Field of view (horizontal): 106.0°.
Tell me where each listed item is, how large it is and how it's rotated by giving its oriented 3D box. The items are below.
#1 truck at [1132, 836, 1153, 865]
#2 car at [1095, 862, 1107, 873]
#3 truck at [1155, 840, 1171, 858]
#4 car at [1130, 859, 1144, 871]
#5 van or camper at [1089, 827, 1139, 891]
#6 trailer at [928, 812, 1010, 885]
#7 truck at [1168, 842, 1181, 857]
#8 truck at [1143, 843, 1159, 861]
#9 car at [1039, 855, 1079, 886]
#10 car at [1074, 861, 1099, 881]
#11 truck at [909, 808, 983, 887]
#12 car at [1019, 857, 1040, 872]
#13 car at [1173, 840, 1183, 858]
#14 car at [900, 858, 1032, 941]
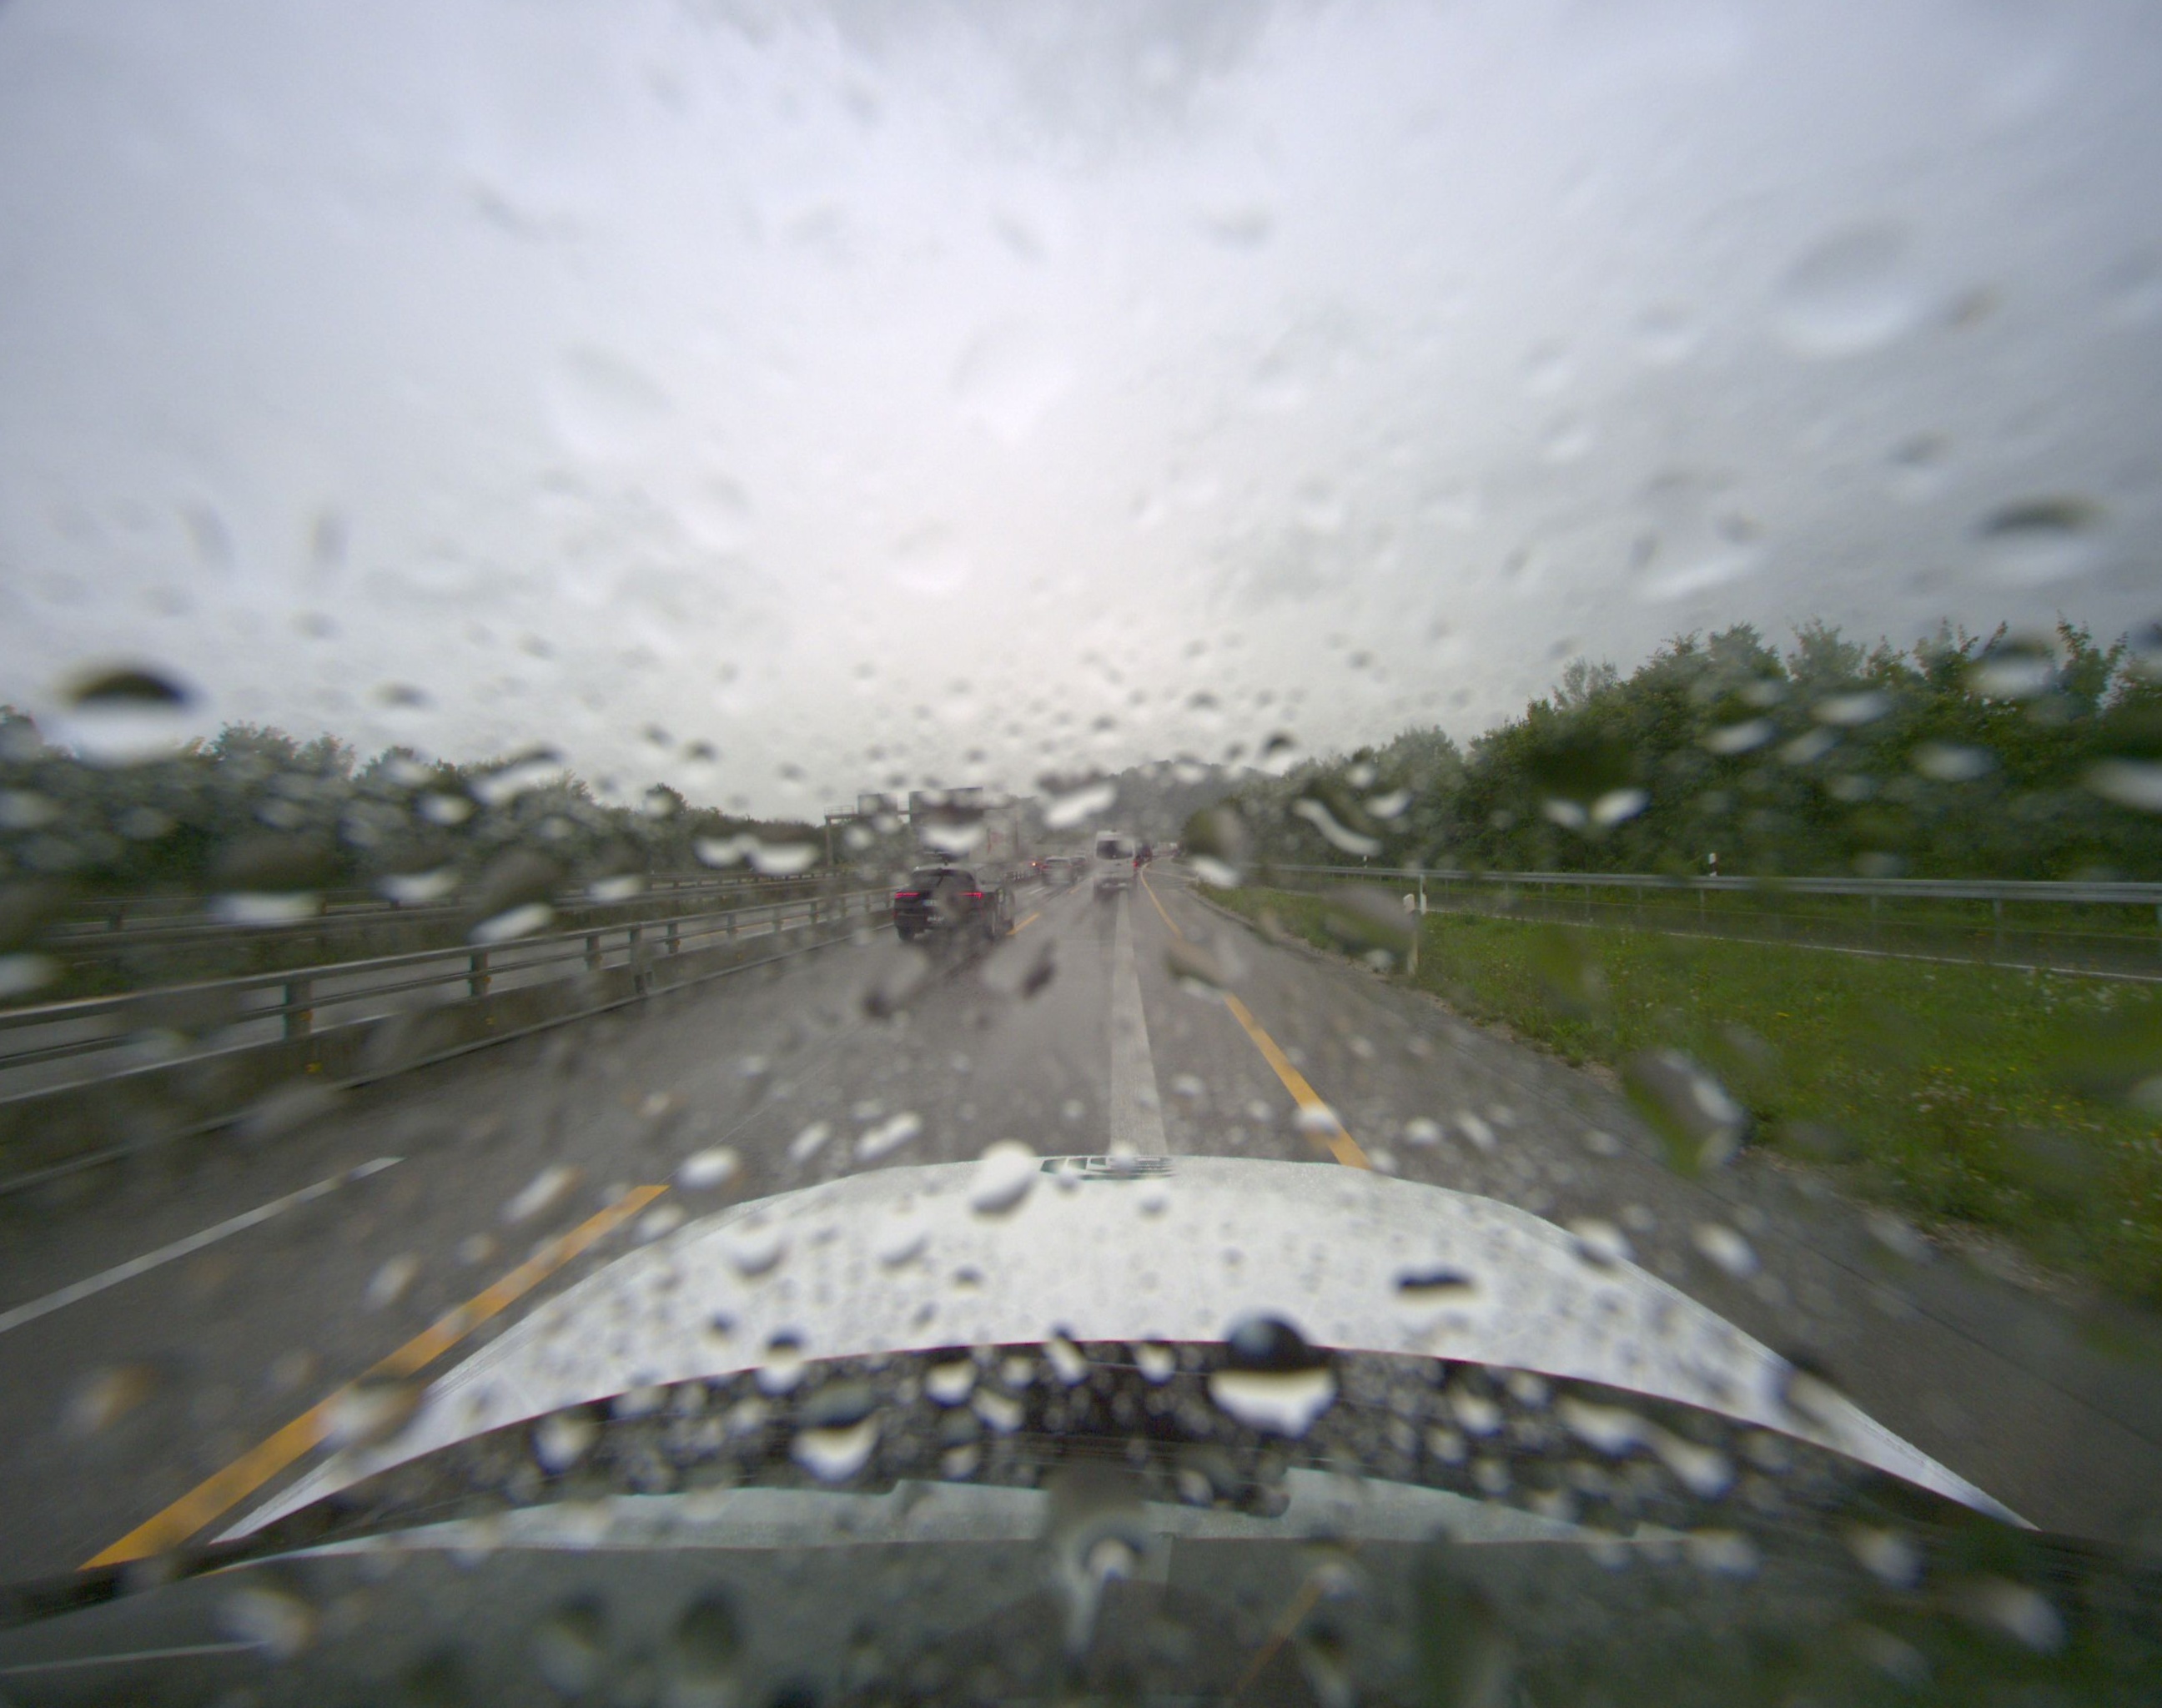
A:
[{"bbox_3d":[10.613,-0.511,141.290,3.307,4.785,9.914,0,-1,3],"label":"truck"},{"bbox_3d":[2.200,1.477,88.378,1.257,1.078,3.256,-1,-1,3],"label":"car"},{"bbox_3d":[22.271,-1.293,221.440,3.907,4.785,9.927,0,-1,8],"label":"truck"},{"bbox_3d":[6.511,1.268,94.523,1.380,1.256,3.121,-1,-1,-1],"label":"car"},{"bbox_3d":[1.579,0.248,37.533,2.130,2.721,4.652,-1,-1,4],"label":"van or camper"},{"bbox_3d":[-7.255,-0.215,54.937,2.880,4.286,12.906,-1,-1,3],"label":"trailer"},{"bbox_3d":[29.721,-1.432,259.748,3.907,4.785,9.927,0,-1,8],"label":"truck"},{"bbox_3d":[15.602,-0.378,182.491,3.307,3.762,9.914,0,-1,3],"label":"truck"},{"bbox_3d":[-1.191,0.894,45.429,1.859,1.659,3.992,-1,-1,3],"label":"car"},{"bbox_3d":[0.477,1.340,64.641,1.845,1.500,4.002,-1,-1,2],"label":"car"},{"bbox_3d":[-7.760,-0.319,47.594,2.876,4.232,6.331,-1,-1,3],"label":"truck"},{"bbox_3d":[-5.235,1.087,83.141,1.601,1.504,4.219,0,-1,3],"label":"car"},{"bbox_3d":[22.690,-1.088,190.148,2.048,4.192,6.755,-1,-1,5],"label":"car"},{"bbox_3d":[-2.139,0.803,16.475,1.932,1.427,4.760,0,-1,1],"label":"car"}]
